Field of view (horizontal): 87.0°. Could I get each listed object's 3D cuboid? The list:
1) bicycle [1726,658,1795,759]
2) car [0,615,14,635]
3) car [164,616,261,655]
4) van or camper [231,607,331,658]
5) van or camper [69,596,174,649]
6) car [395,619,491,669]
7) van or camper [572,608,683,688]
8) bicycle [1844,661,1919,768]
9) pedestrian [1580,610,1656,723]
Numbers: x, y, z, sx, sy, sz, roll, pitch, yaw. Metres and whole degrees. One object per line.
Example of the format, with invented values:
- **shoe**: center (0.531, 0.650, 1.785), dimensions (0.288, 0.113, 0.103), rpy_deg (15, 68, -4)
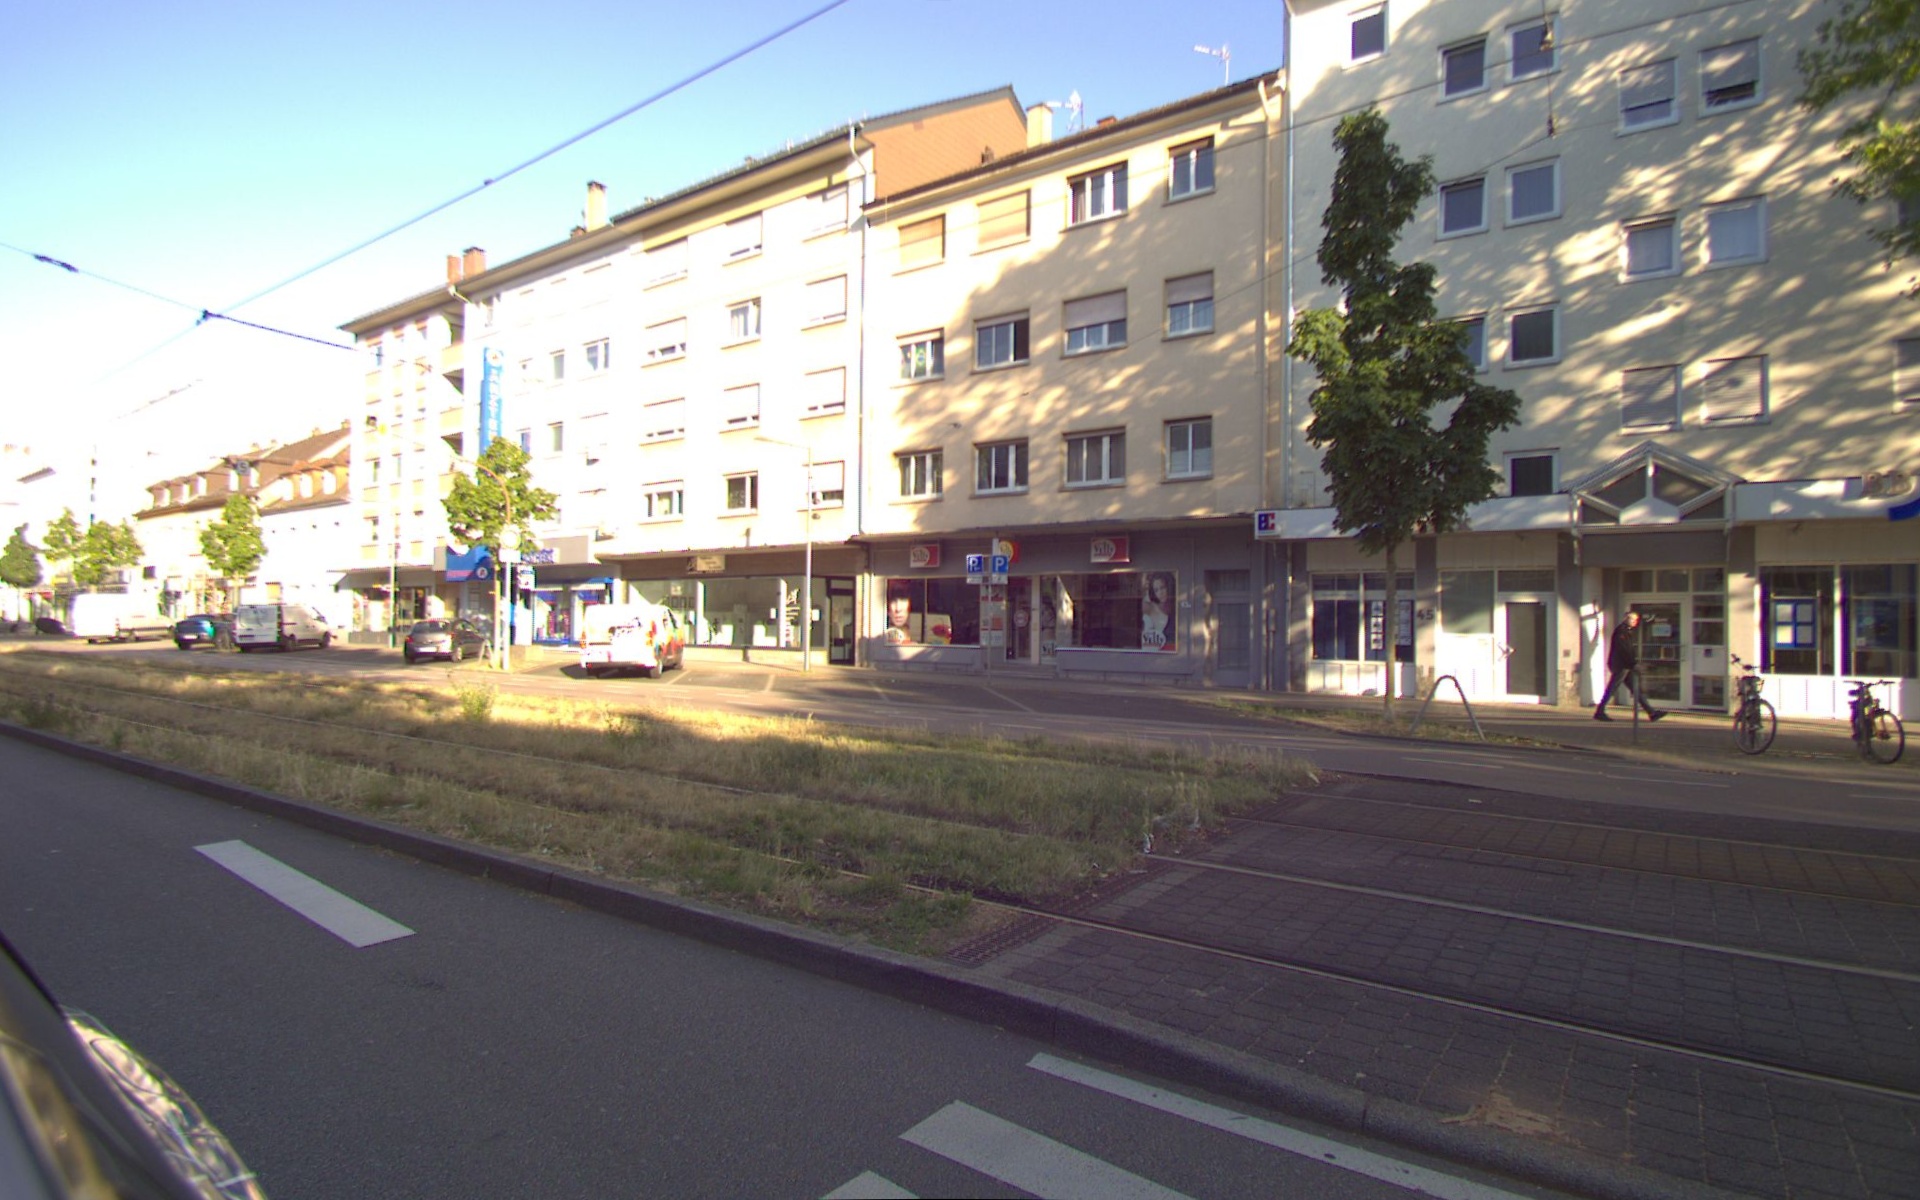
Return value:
- **bicycle**: center (10.371, 1.367, 13.159), dimensions (0.533, 1.133, 1.878), rpy_deg (-1, -1, 34)
- **car**: center (-73.400, 1.893, 75.449), dimensions (1.752, 1.501, 3.899), rpy_deg (-1, 0, 13)
- **car**: center (-34.299, 1.601, 46.576), dimensions (1.850, 1.598, 4.007), rpy_deg (-1, 0, -7)
- **van or camper**: center (-28.566, 1.303, 42.754), dimensions (1.771, 2.004, 4.460), rpy_deg (-1, 0, -9)
- **van or camper**: center (-45.386, 1.167, 55.012), dimensions (1.966, 2.687, 6.417), rpy_deg (-1, 0, -16)
- **car**: center (-17.613, 1.455, 34.701), dimensions (1.741, 1.501, 4.461), rpy_deg (-1, 0, -11)
- **van or camper**: center (-8.887, 1.214, 27.492), dimensions (1.921, 1.912, 4.822), rpy_deg (-1, 0, -6)
- **bicycle**: center (11.396, 1.362, 12.440), dimensions (0.533, 1.133, 1.878), rpy_deg (-1, -1, 34)
- **pedestrian**: center (10.898, 1.078, 16.771), dimensions (0.970, 1.801, 0.612), rpy_deg (-1, 0, 41)
